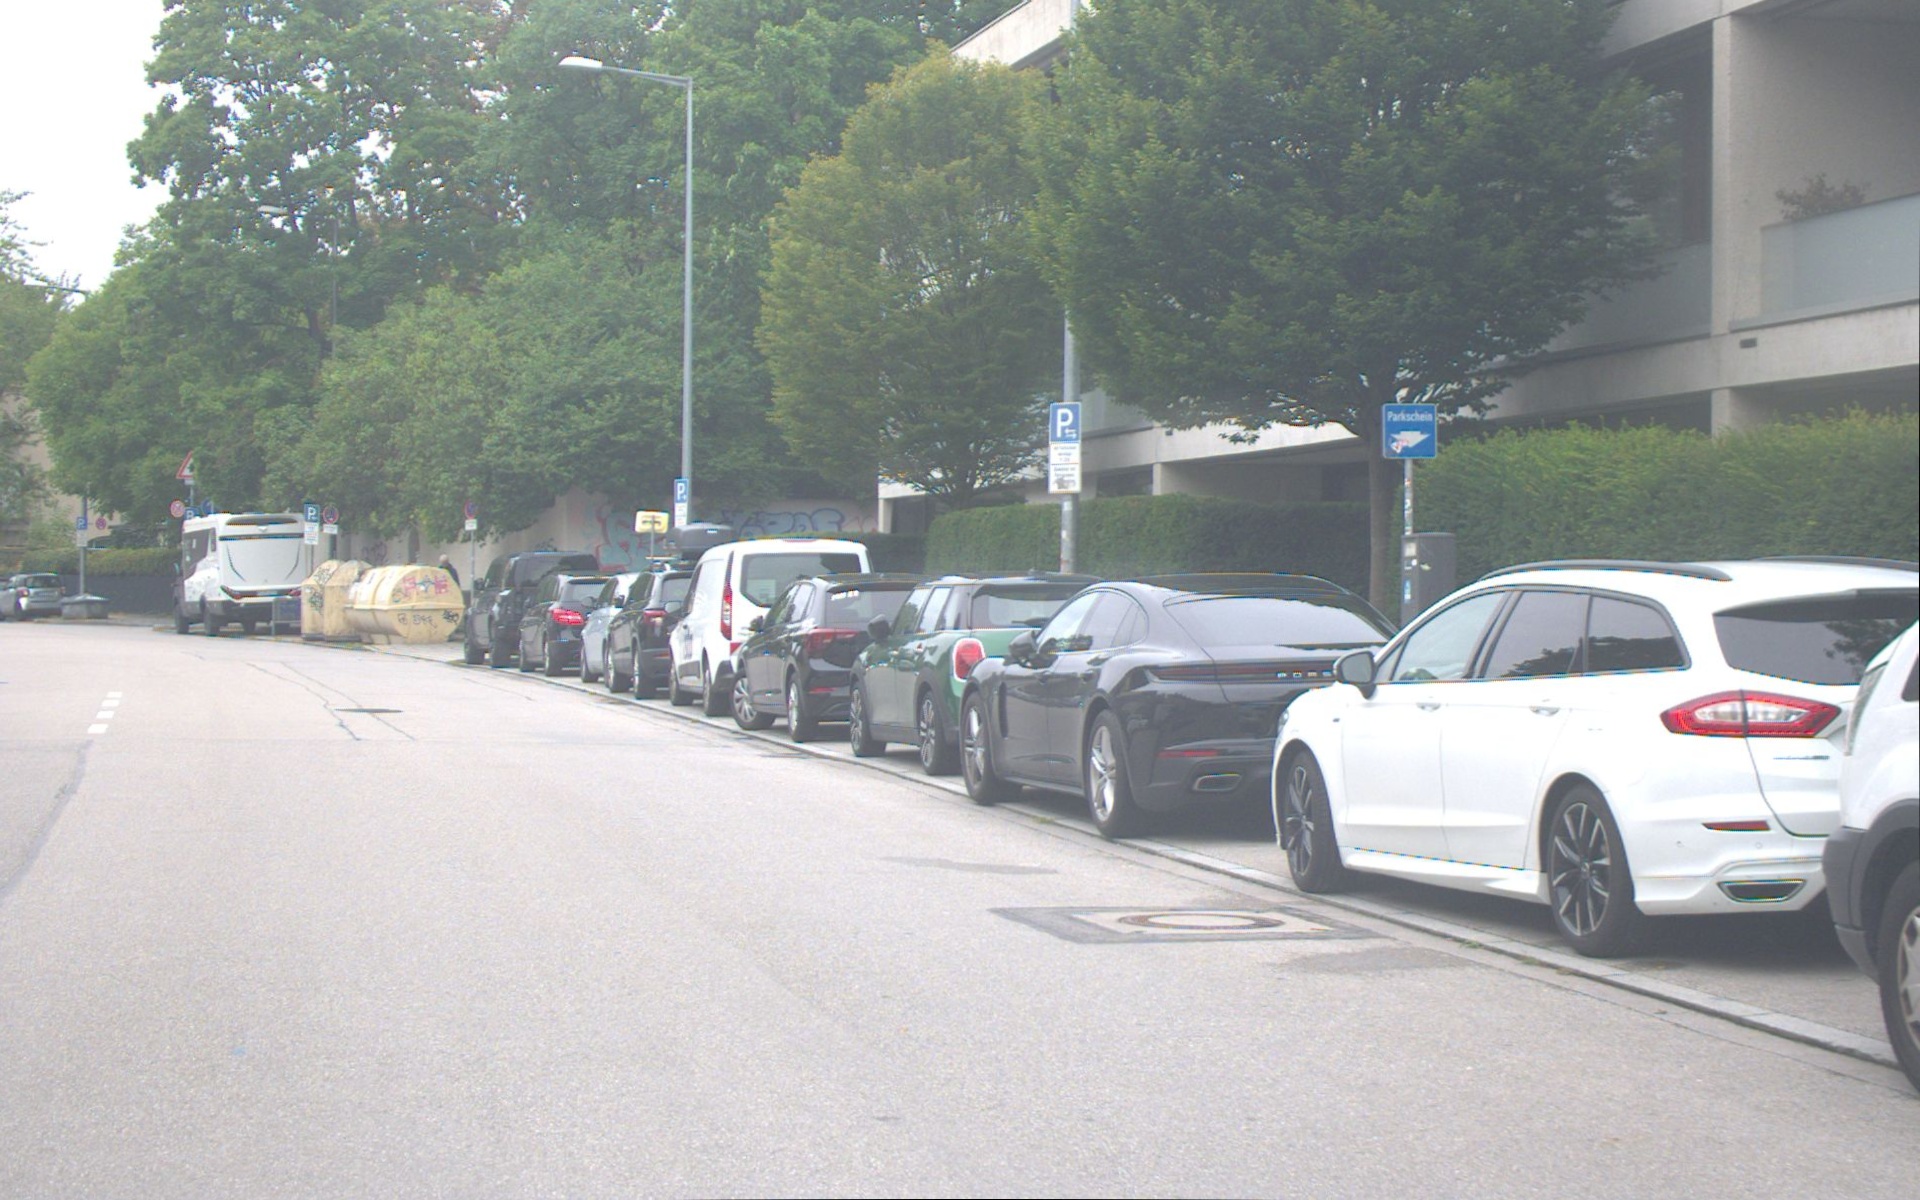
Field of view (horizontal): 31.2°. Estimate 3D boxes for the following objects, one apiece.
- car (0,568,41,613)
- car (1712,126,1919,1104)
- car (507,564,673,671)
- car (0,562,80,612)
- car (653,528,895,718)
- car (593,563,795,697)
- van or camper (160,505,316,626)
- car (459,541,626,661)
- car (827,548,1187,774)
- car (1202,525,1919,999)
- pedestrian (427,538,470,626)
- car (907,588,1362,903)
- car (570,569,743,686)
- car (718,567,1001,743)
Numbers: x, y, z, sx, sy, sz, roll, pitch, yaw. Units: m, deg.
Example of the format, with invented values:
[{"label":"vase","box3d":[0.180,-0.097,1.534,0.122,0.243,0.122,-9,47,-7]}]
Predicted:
[{"label":"car","box3d":[-32.085,-0.329,113.704,1.877,1.422,4.221,-1,1,-36]},{"label":"car","box3d":[4.090,0.061,7.861,2.079,2.677,6.090,-2,2,-14]},{"label":"car","box3d":[-5.631,0.233,51.892,1.747,1.534,4.571,1,0,-15]},{"label":"car","box3d":[-29.660,-0.410,110.342,1.739,1.531,2.945,-1,0,-36]},{"label":"car","box3d":[-2.067,0.205,36.811,1.822,1.854,4.899,2,0,-12]},{"label":"car","box3d":[-3.291,0.327,41.820,1.747,1.475,4.599,1,1,-13]},{"label":"van or camper","box3d":[-18.249,-0.866,86.573,2.272,2.896,7.278,0,0,-25]},{"label":"car","box3d":[-6.989,0.035,57.090,1.987,1.865,5.079,1,-1,-15]},{"label":"car","box3d":[0.257,0.384,25.833,1.726,1.524,4.206,-1,1,-13]},{"label":"car","box3d":[2.772,0.501,14.447,1.870,1.564,5.003,-2,2,-16]},{"label":"pedestrian","box3d":[-11.517,-0.403,77.405,0.795,1.978,0.631,1,0,-25]},{"label":"car","box3d":[0.878,0.741,20.388,1.281,1.501,5.209,-2,2,-13]},{"label":"car","box3d":[-4.139,0.343,46.362,1.747,1.475,3.889,1,1,-14]},{"label":"car","box3d":[-0.986,0.438,31.030,1.747,1.459,4.244,0,1,-13]}]
